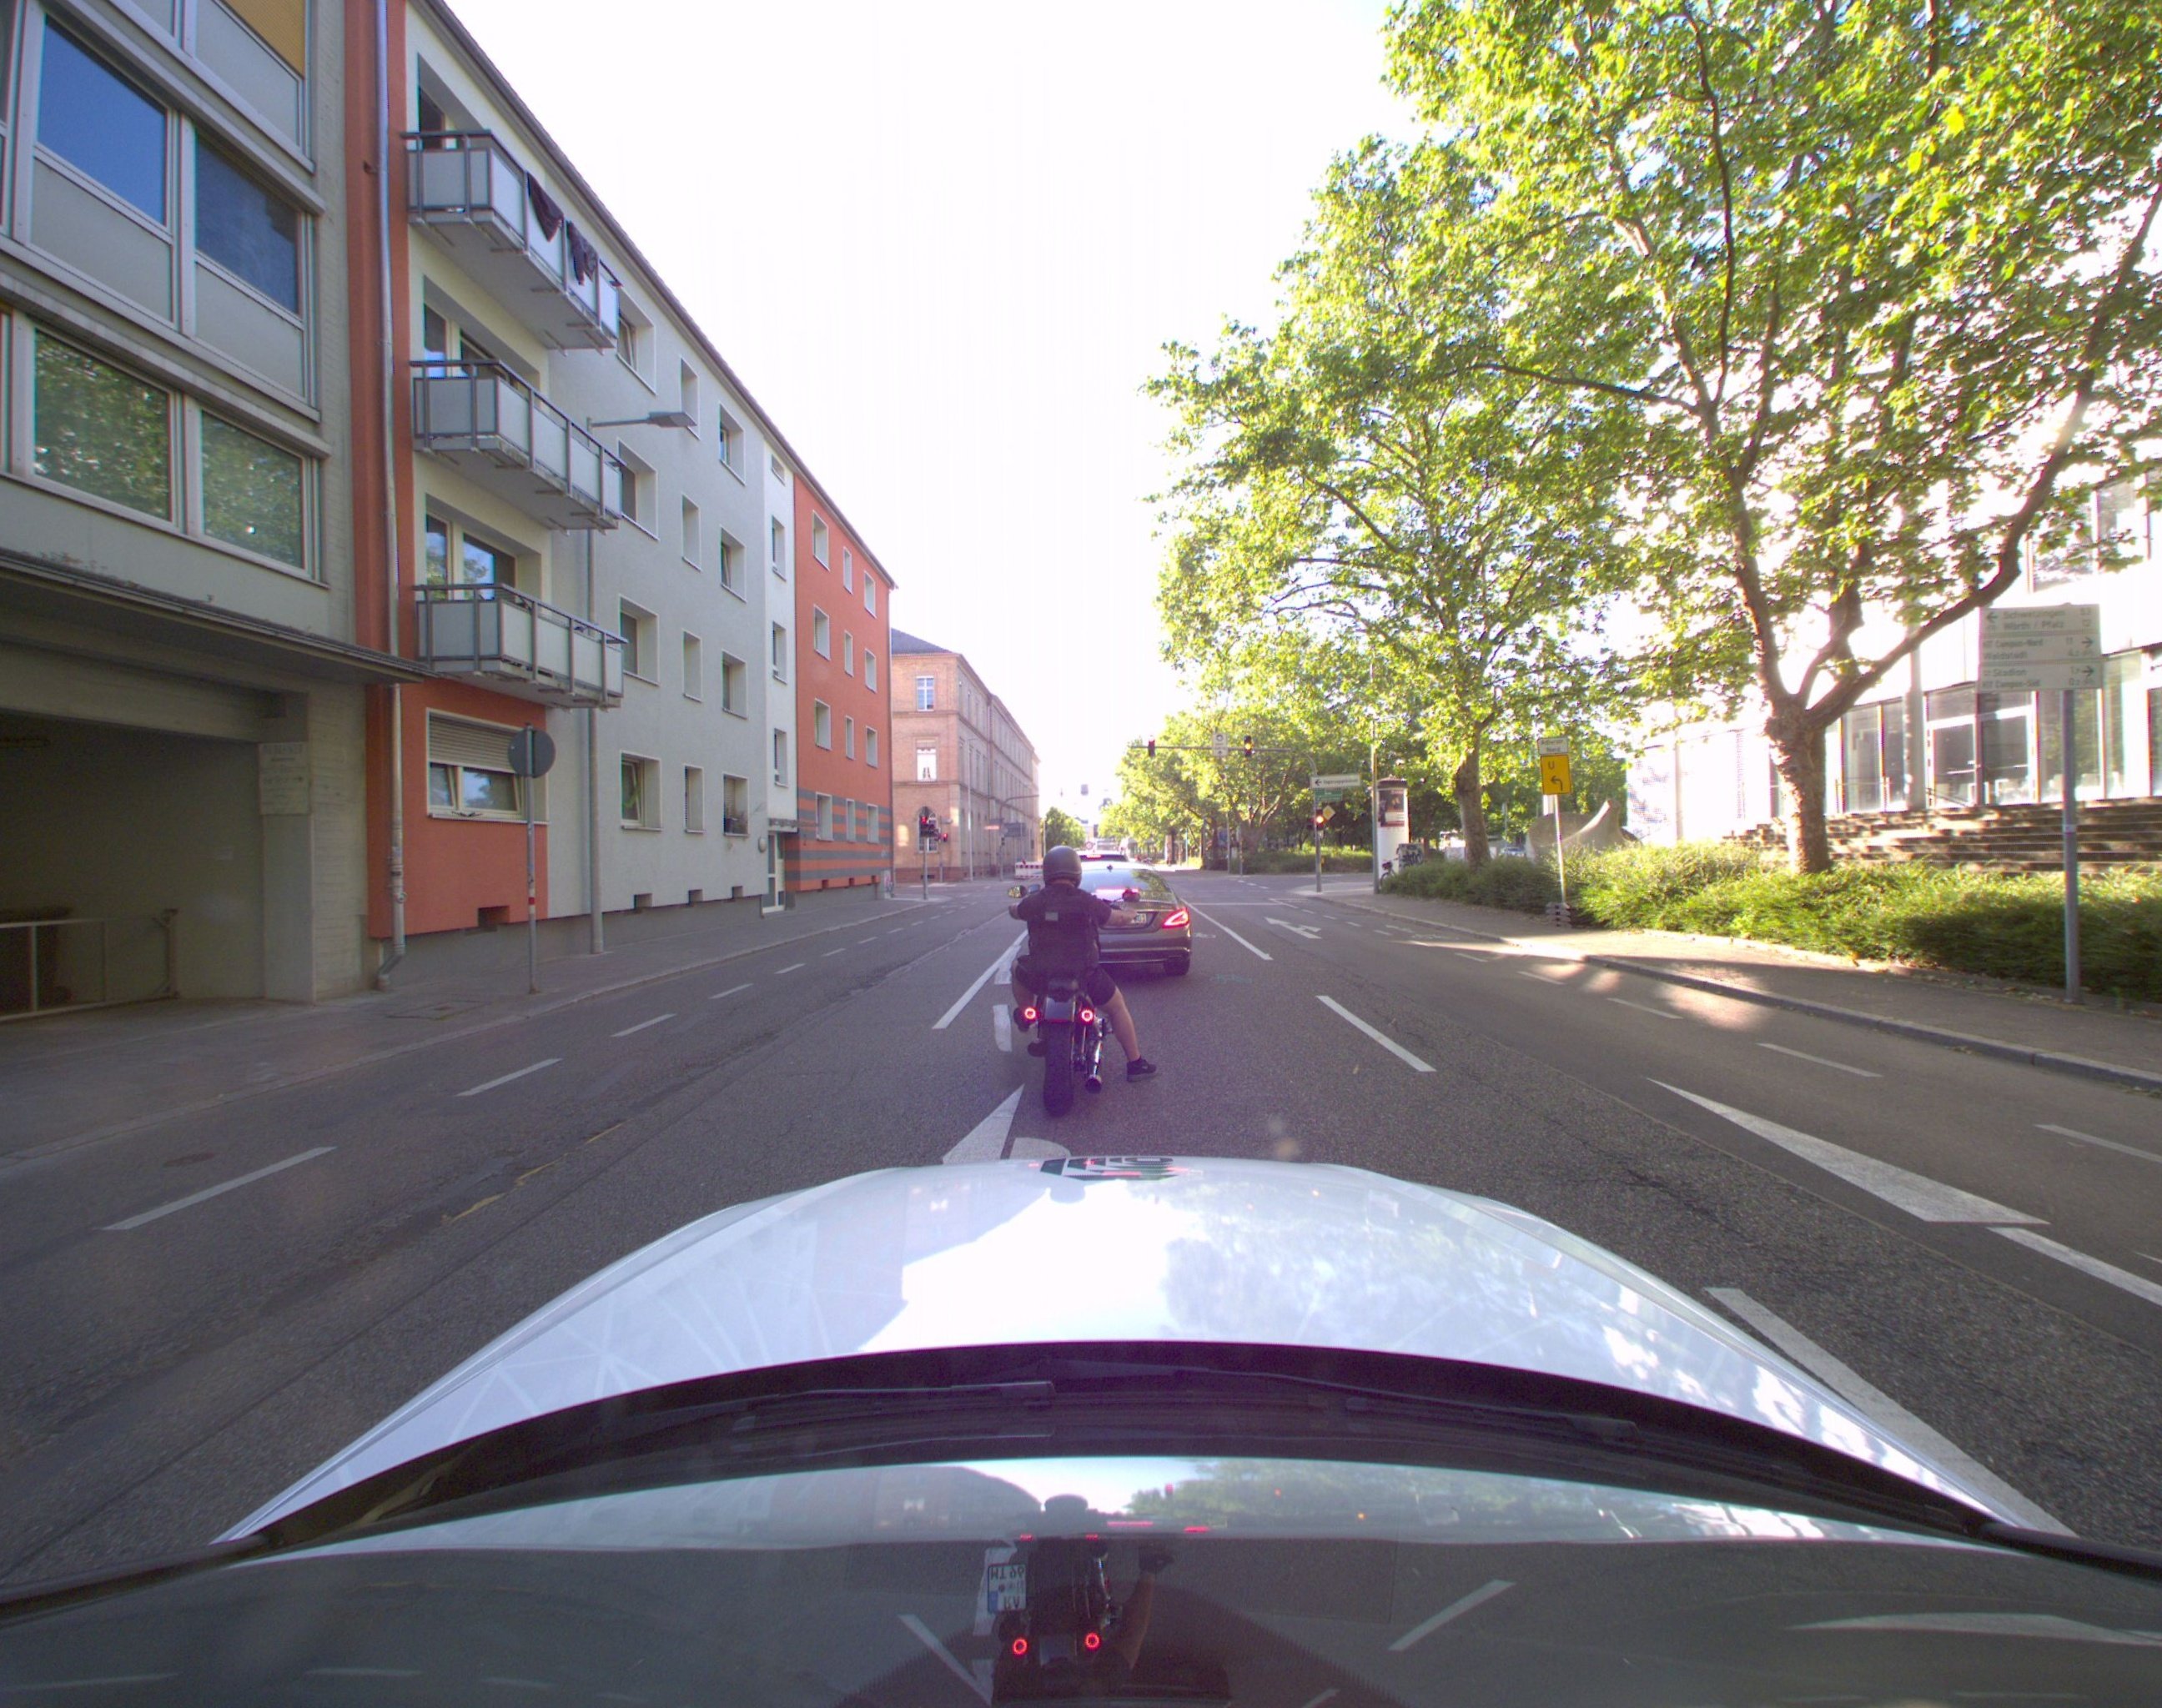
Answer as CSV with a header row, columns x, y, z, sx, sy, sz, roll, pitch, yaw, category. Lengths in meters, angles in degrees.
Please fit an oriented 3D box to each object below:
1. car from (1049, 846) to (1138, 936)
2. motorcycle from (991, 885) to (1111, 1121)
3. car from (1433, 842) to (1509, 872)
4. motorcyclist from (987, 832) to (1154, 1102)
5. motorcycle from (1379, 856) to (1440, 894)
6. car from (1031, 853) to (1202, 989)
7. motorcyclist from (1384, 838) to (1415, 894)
x,y,z,sx,sy,sz,roll,pitch,yaw,category
0.294,0.698,17.089,1.645,1.652,4.002,0,-1,2,car
-0.134,0.862,5.536,0.657,1.240,2.058,0,-1,2,motorcycle
24.639,0.201,51.516,3.974,1.772,1.738,-1,0,-1,car
-0.046,0.679,5.443,0.986,1.611,1.121,0,-1,1,motorcyclist
11.080,0.715,27.538,1.771,1.243,0.724,-1,-1,7,motorcycle
0.269,0.754,11.238,1.821,1.486,4.325,0,-1,-5,car
10.776,0.396,27.562,0.818,1.863,0.673,-1,-1,7,motorcyclist
